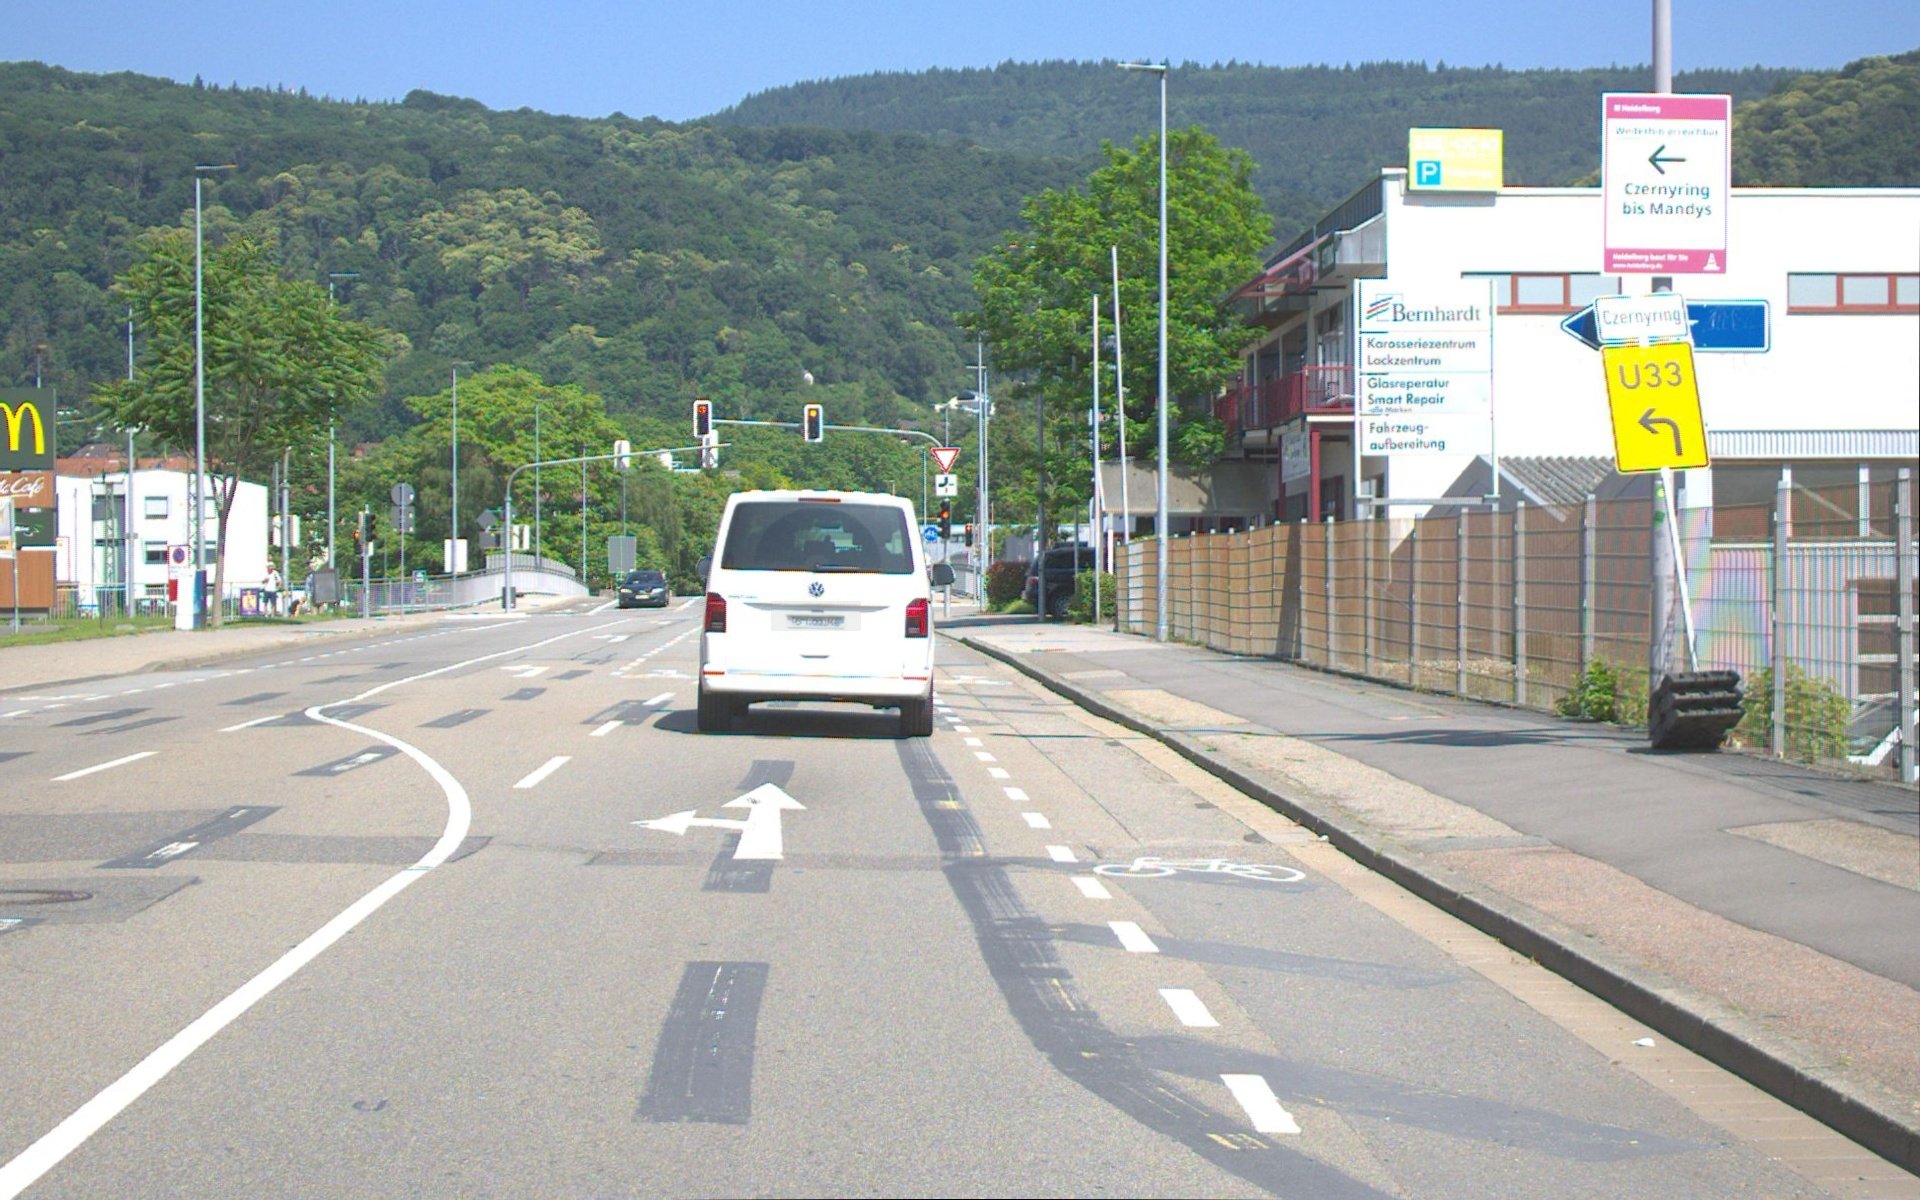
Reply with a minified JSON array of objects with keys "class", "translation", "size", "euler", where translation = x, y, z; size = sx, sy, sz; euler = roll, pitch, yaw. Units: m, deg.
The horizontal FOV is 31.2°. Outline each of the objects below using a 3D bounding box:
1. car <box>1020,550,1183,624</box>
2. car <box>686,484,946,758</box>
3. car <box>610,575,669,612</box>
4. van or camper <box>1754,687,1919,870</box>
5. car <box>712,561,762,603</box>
[{"class":"car","translation":[3.539,-0.332,85.470],"size":[3.987,1.769,2.000],"euler":[-1,0,4]},{"class":"car","translation":[-1.274,0.141,29.068],"size":[1.934,2.052,4.545],"euler":[3,0,-4]},{"class":"car","translation":[-12.150,-0.248,130.536],"size":[1.993,1.365,4.327],"euler":[-1,1,-2]},{"class":"van or camper","translation":[10.177,1.725,33.484],"size":[4.312,1.645,2.021],"euler":[1,0,-7]},{"class":"car","translation":[-8.716,-0.710,134.665],"size":[1.849,1.583,4.000],"euler":[-1,1,-2]}]
